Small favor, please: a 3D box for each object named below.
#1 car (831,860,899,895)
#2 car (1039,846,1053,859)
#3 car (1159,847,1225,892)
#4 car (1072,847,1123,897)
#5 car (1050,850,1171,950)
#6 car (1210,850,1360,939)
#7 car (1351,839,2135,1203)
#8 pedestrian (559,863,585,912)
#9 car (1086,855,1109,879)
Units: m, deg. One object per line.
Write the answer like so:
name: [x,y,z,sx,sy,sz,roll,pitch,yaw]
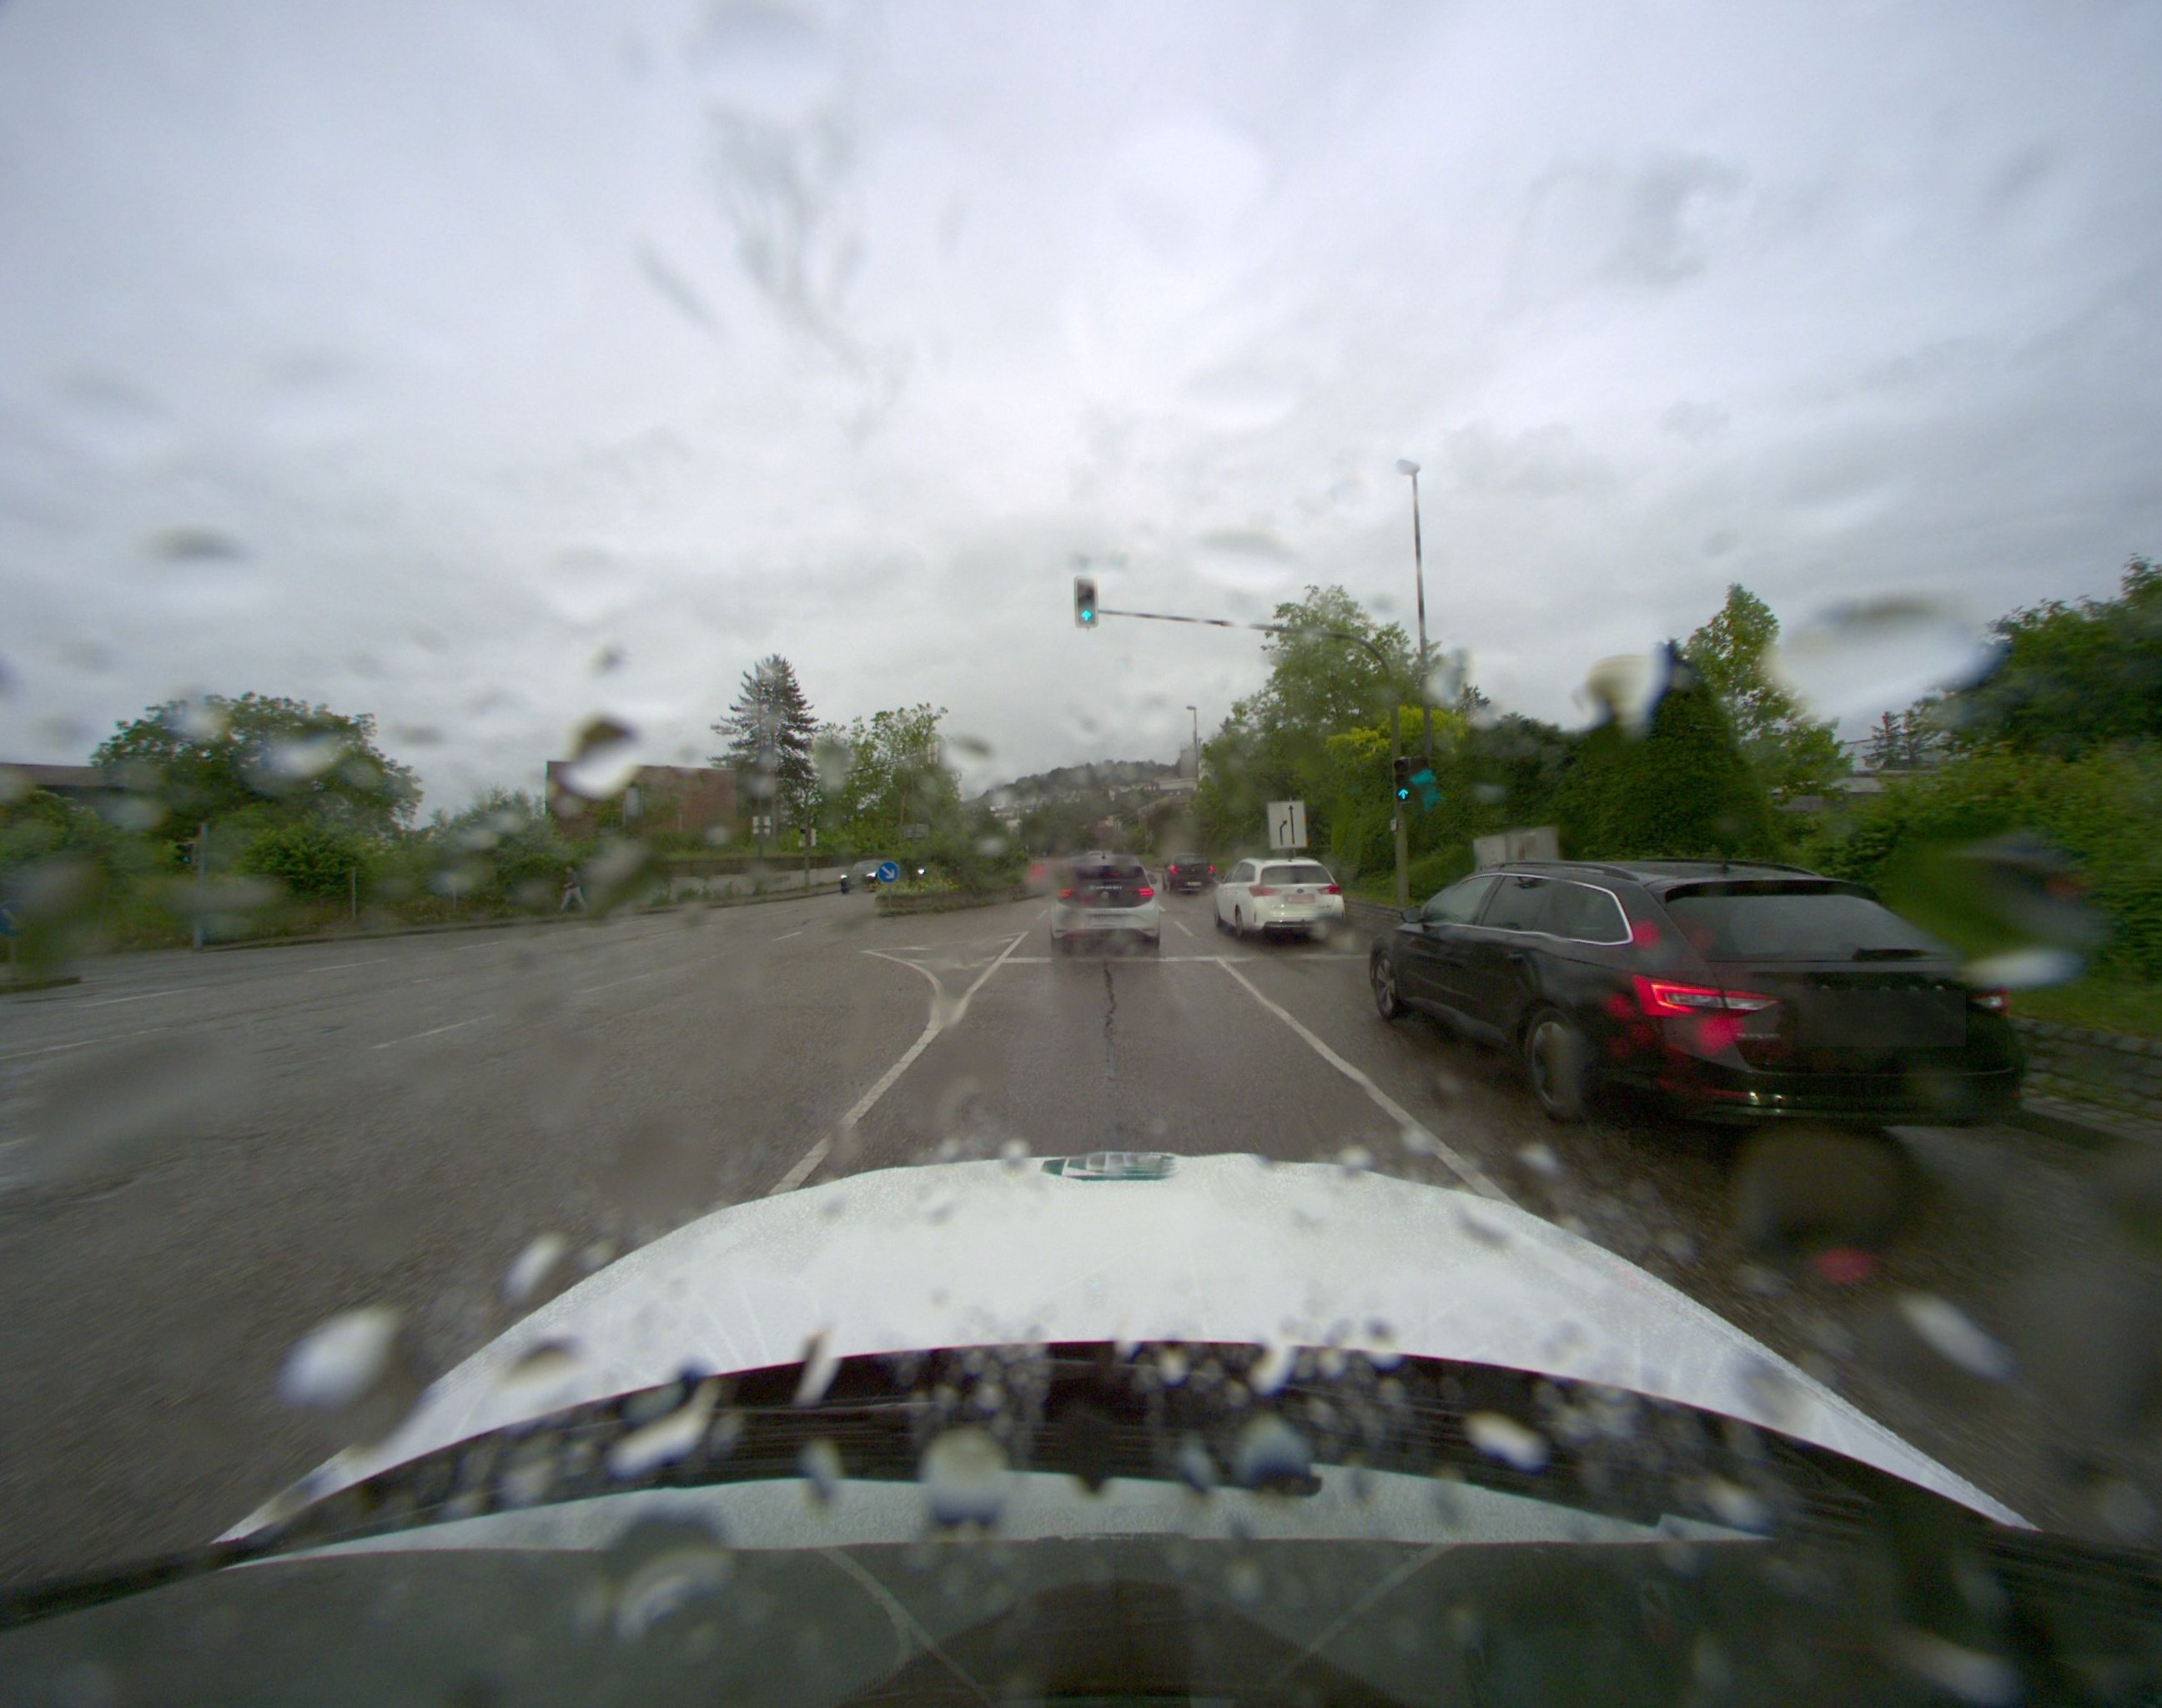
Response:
car: [-10.503,1.103,39.913,1.943,1.478,4.297,-4,-1,2]
car: [-5.494,-0.209,126.781,1.987,2.014,3.999,0,-1,0]
car: [4.094,0.582,30.566,1.986,1.453,3.772,-4,-1,2]
car: [0.504,0.568,27.654,1.562,1.530,3.998,-1,0,-1]
car: [0.520,0.726,14.524,1.822,1.500,4.170,-1,-1,2]
car: [3.626,0.680,15.267,1.841,1.410,4.303,-1,-1,2]
car: [3.574,0.730,5.772,1.946,1.507,4.611,1,-1,2]
pedestrian: [-17.528,1.163,28.027,0.546,1.642,0.503,-4,-1,32]
car: [1.457,1.094,70.987,1.986,2.014,4.001,0,-1,2]
